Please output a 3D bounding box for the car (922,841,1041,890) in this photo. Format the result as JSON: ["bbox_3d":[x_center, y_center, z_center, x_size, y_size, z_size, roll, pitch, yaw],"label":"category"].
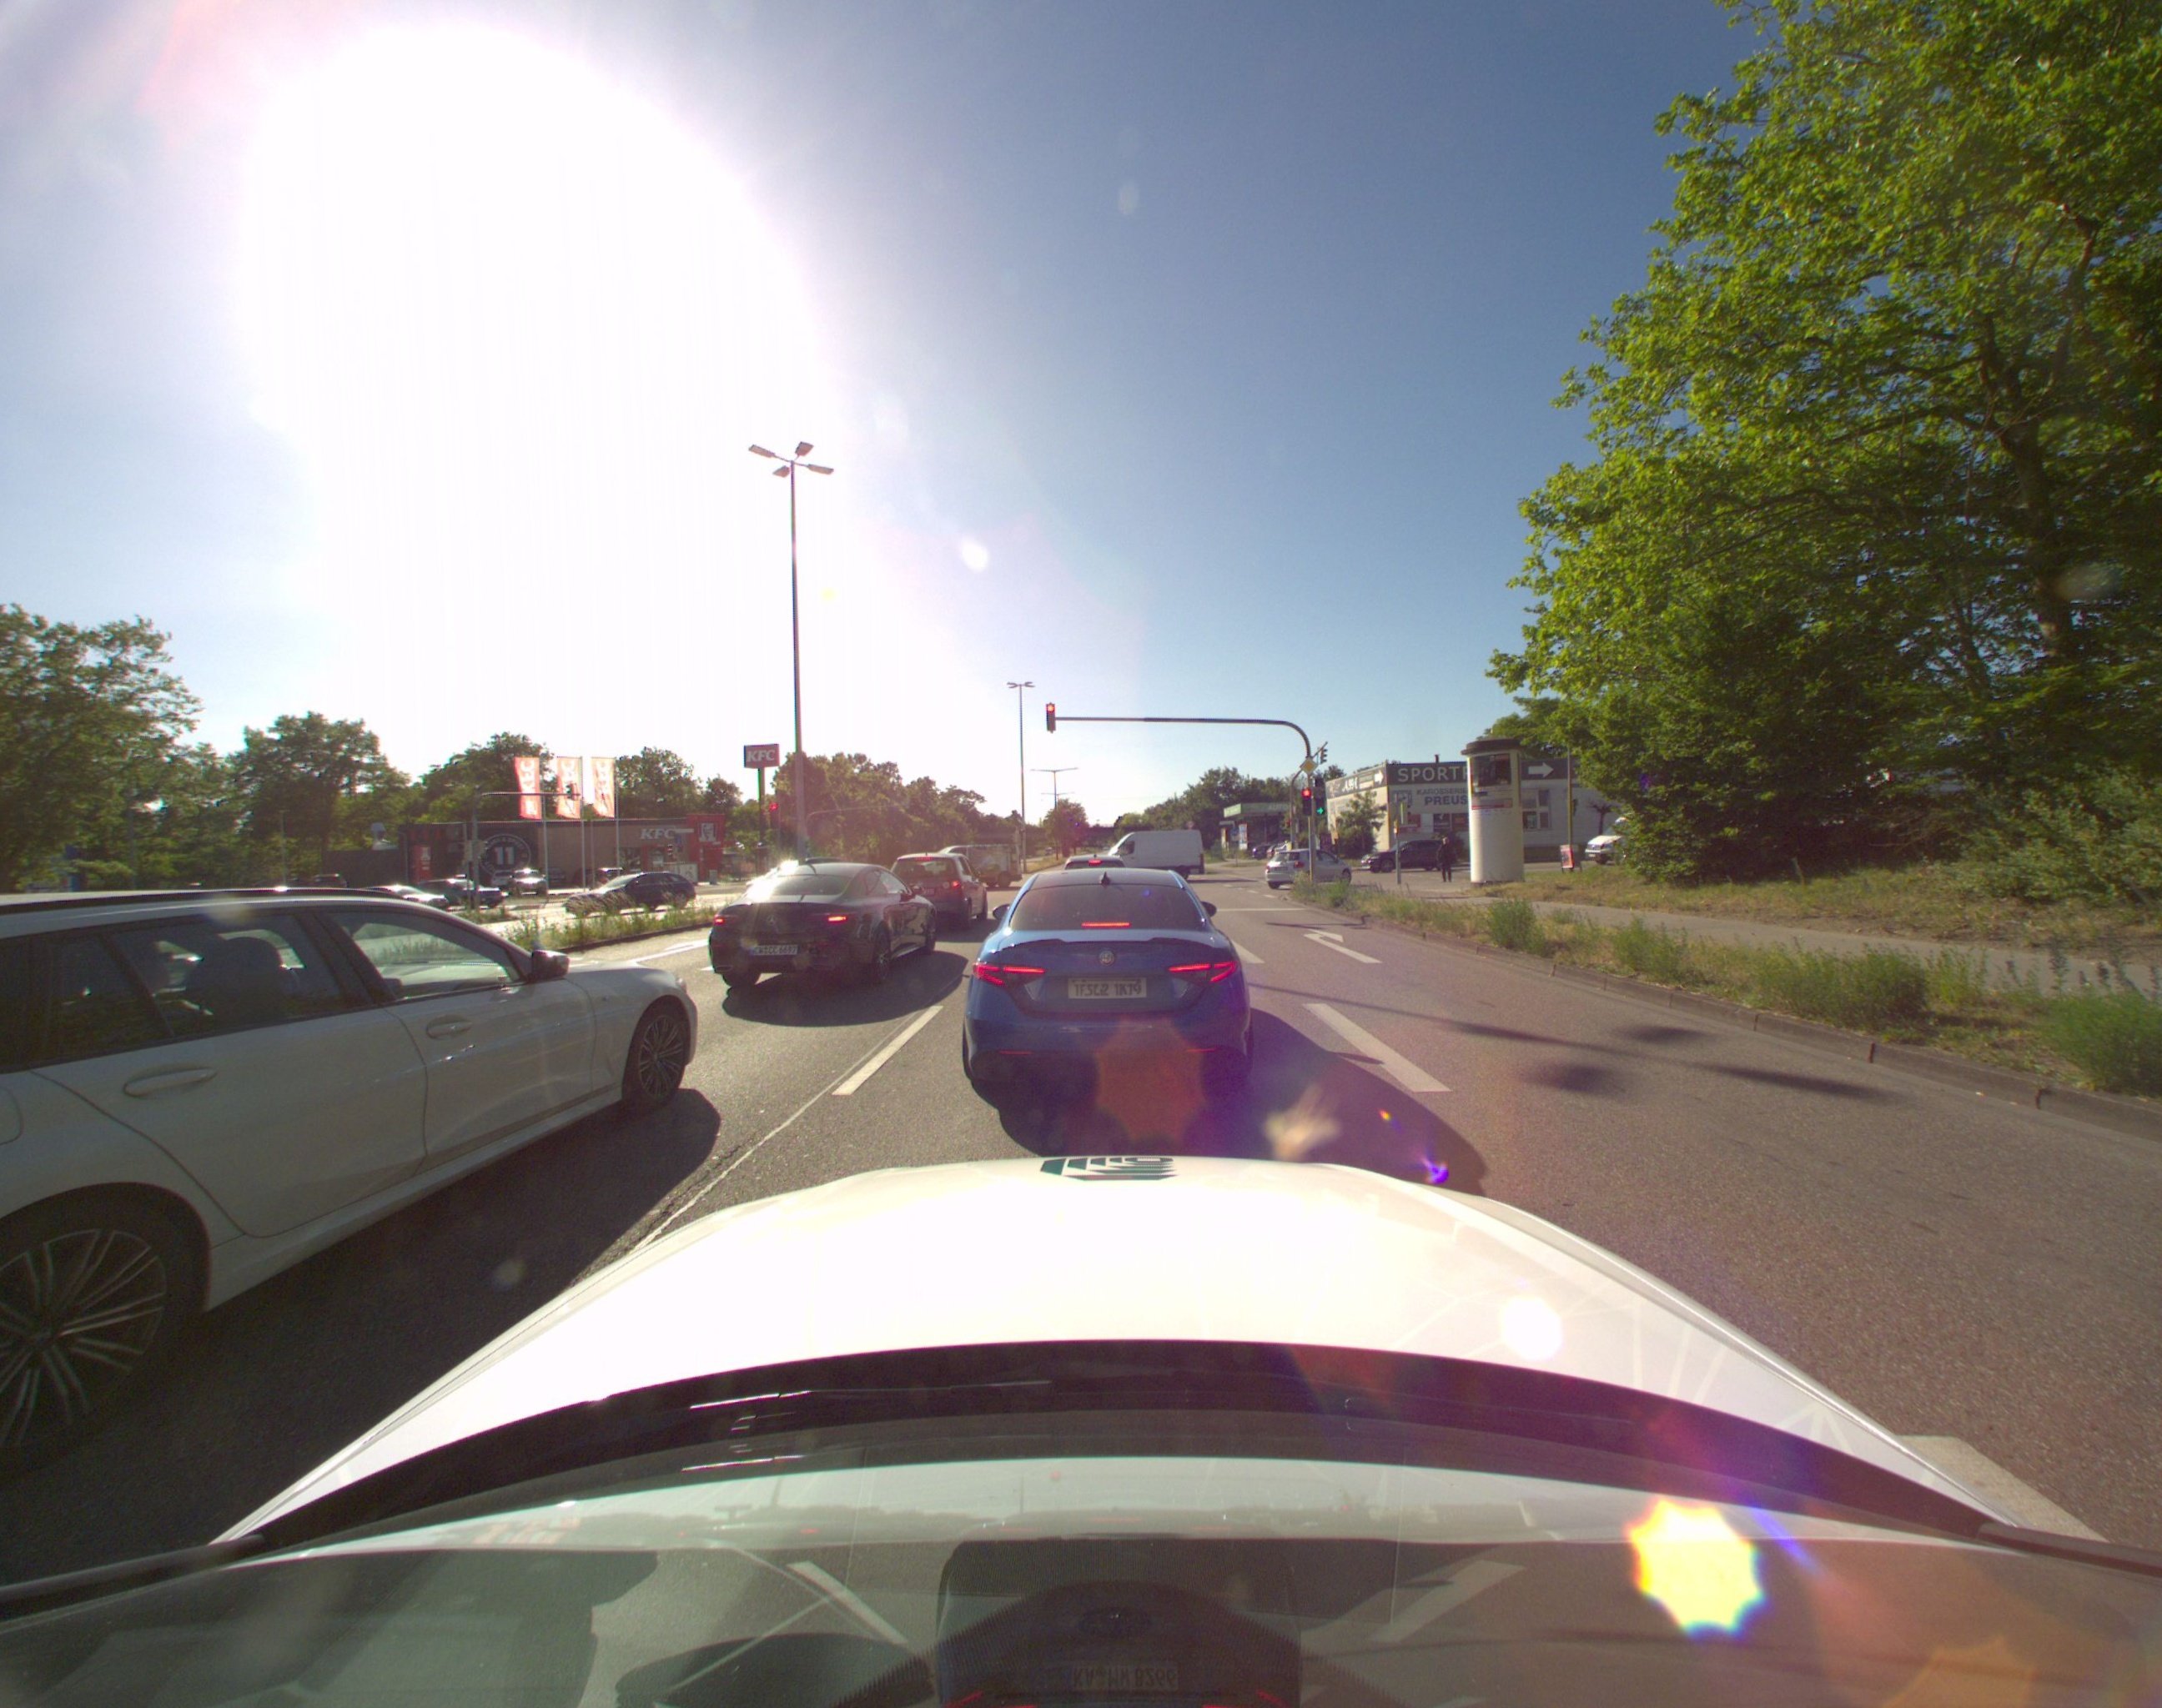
[{"bbox_3d":[-4.533,0.488,37.375,5.035,2.013,1.983,-2,0,-25],"label":"car"}]

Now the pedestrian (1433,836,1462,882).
[{"bbox_3d":[14.204,0.181,31.589,0.818,1.721,0.856,-2,0,9],"label":"pedestrian"}]

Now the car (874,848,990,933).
[{"bbox_3d":[-3.093,0.701,17.687,1.642,1.598,3.933,-1,0,2],"label":"car"}]

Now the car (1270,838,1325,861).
[{"bbox_3d":[17.501,-0.362,65.862,3.993,1.706,1.687,-2,0,-15],"label":"car"}]

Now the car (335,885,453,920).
[{"bbox_3d":[-32.135,2.240,38.163,4.019,1.429,1.826,-2,0,3],"label":"car"}]

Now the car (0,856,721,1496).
[{"bbox_3d":[-3.437,0.798,3.356,1.762,1.509,4.463,-1,0,2],"label":"car"}]

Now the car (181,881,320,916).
[{"bbox_3d":[-39.257,2.087,38.572,4.701,1.429,1.865,-1,1,2],"label":"car"}]

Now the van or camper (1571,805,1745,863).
[{"bbox_3d":[27.561,-0.956,39.103,6.703,2.572,2.187,-1,0,3],"label":"van or camper"}]

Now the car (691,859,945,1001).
[{"bbox_3d":[-3.150,0.813,10.828,1.762,1.414,4.463,-1,0,2],"label":"car"}]

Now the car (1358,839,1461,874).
[{"bbox_3d":[17.043,0.111,42.386,4.583,1.653,2.000,-1,0,0],"label":"car"}]

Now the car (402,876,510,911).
[{"bbox_3d":[-31.931,1.990,41.686,4.025,1.595,1.824,-2,0,-1],"label":"car"}]

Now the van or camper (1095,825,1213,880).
[{"bbox_3d":[3.759,-0.072,42.567,5.921,2.651,1.999,-1,0,-2],"label":"van or camper"}]

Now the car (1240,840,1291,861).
[{"bbox_3d":[16.031,-0.292,70.756,3.997,1.706,1.685,-1,0,-18],"label":"car"}]

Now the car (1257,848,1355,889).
[{"bbox_3d":[8.820,0.527,31.743,4.012,1.477,1.720,-1,0,-41],"label":"car"}]

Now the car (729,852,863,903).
[{"bbox_3d":[-10.487,0.810,30.265,1.861,1.690,4.465,-2,0,33],"label":"car"}]

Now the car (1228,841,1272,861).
[{"bbox_3d":[15.373,-0.256,73.964,3.489,1.706,1.687,-2,0,-14],"label":"car"}]

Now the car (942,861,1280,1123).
[{"bbox_3d":[0.226,0.787,6.506,1.859,1.385,3.933,-1,0,2],"label":"car"}]

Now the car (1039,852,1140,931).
[{"bbox_3d":[0.224,0.701,17.192,1.859,1.450,3.933,-1,0,2],"label":"car"}]

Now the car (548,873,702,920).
[{"bbox_3d":[-16.510,1.495,29.785,1.886,1.446,4.634,-1,0,25],"label":"car"}]
